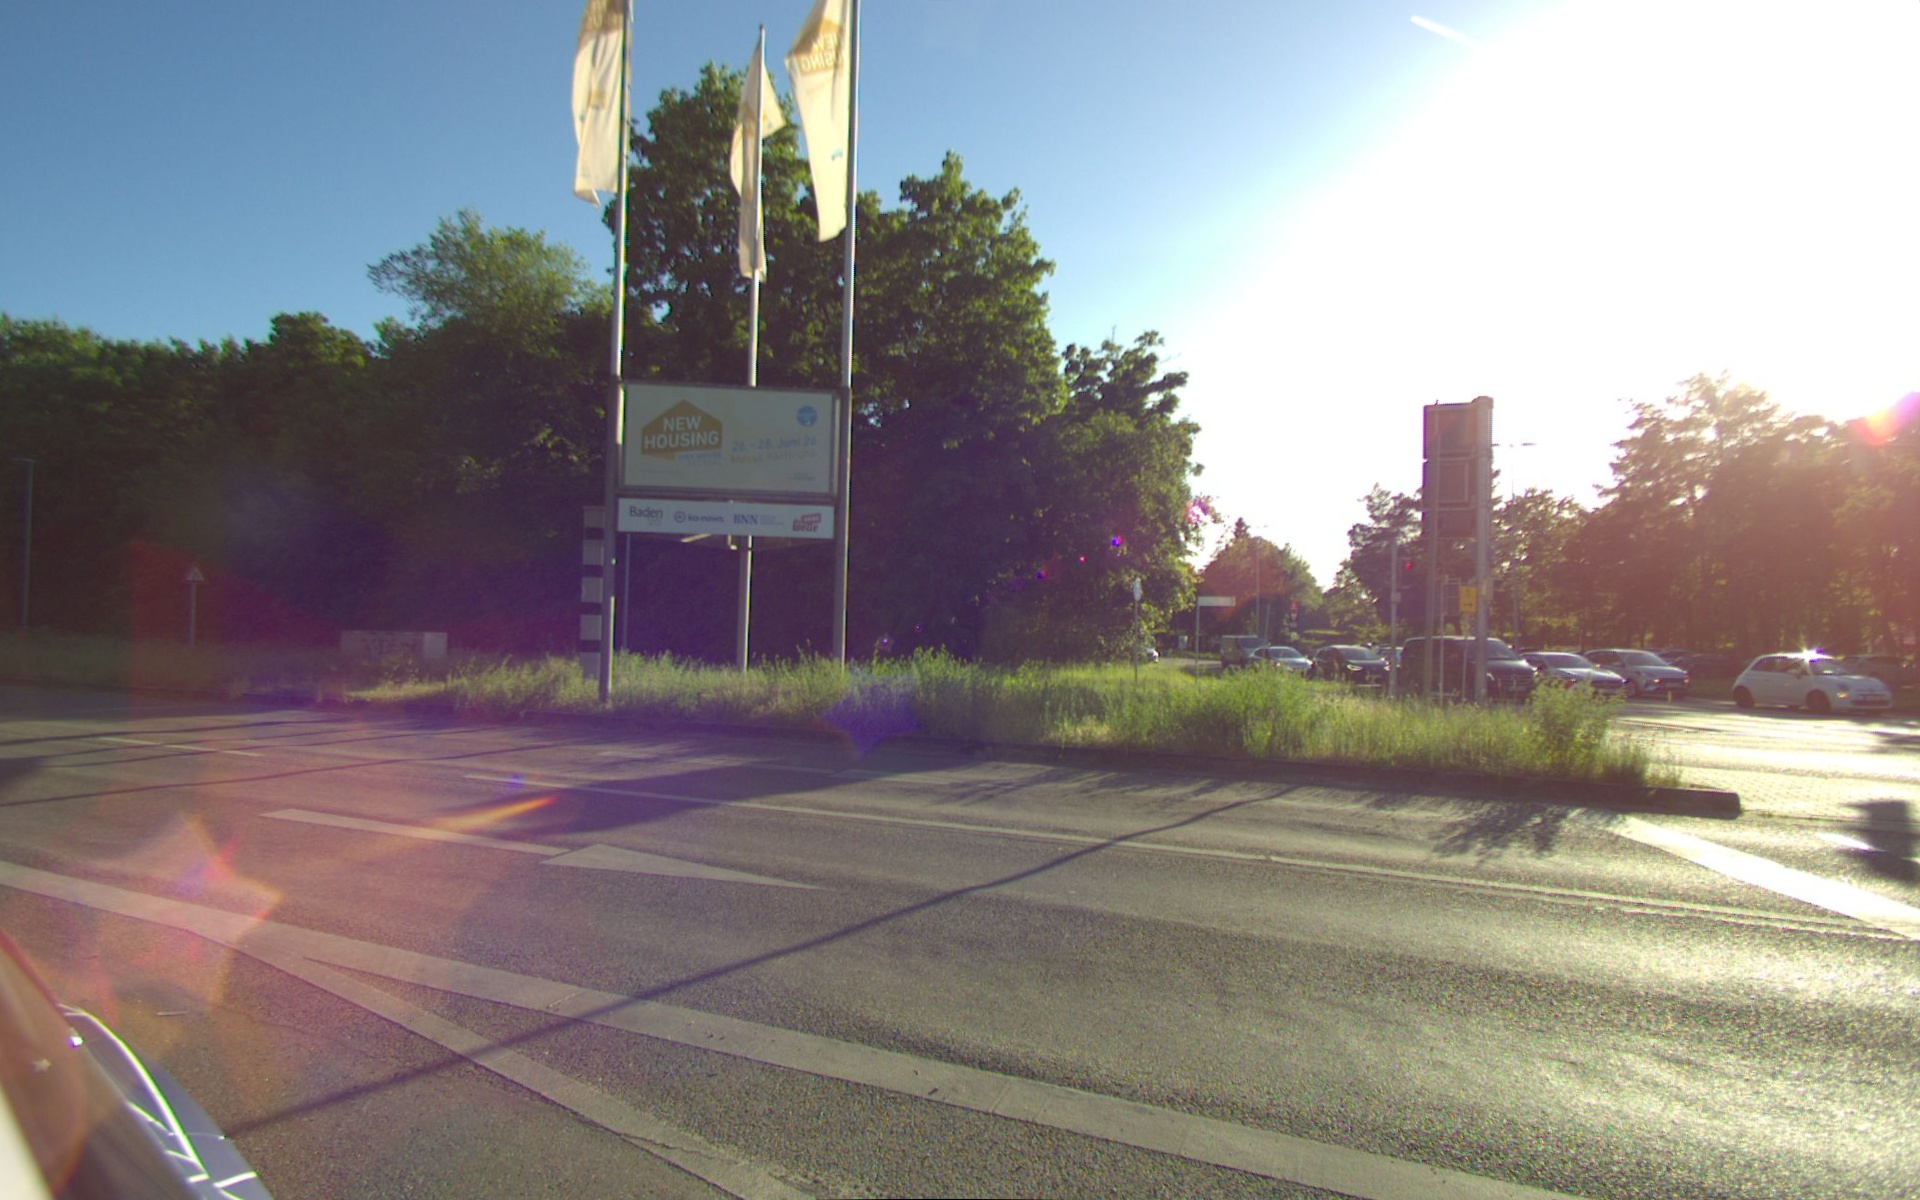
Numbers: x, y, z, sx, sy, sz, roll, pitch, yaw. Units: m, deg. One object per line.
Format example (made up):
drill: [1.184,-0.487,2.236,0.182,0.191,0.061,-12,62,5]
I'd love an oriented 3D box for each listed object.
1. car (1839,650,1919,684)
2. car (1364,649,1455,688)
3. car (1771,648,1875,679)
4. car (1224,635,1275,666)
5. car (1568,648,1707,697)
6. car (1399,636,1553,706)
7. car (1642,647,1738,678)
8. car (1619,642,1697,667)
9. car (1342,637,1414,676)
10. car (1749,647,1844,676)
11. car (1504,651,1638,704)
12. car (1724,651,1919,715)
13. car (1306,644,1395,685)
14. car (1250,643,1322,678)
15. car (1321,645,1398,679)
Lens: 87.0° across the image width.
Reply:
car: [48.344,3.462,52.234,4.107,1.612,1.807,0,-2,12]
car: [17.843,2.707,40.379,1.827,1.400,3.800,1,-2,-1]
car: [47.582,3.492,55.852,3.929,1.612,1.807,0,-2,12]
car: [17.081,2.951,59.955,1.827,1.773,3.800,1,-2,-1]
car: [21.681,2.284,32.560,1.827,1.400,3.800,1,-2,-1]
car: [15.039,2.009,29.888,1.901,1.844,4.935,1,-2,-2]
car: [41.542,3.516,57.668,3.953,1.631,1.938,1,-2,8]
car: [47.740,3.695,69.267,3.929,1.612,1.807,0,-2,12]
car: [20.204,2.691,49.064,1.827,1.773,3.800,1,-2,-1]
car: [49.711,3.650,60.220,3.929,1.612,1.807,0,-2,12]
car: [18.149,2.263,30.286,1.624,1.400,3.800,1,-2,-1]
car: [21.872,2.048,25.729,1.901,1.400,3.800,1,-2,-1]
car: [14.775,2.404,38.485,1.827,1.400,3.800,1,-2,-1]
car: [14.332,2.628,44.670,1.827,1.400,3.800,1,-2,-1]
car: [17.852,2.759,45.383,1.827,1.400,3.800,1,-2,-1]
